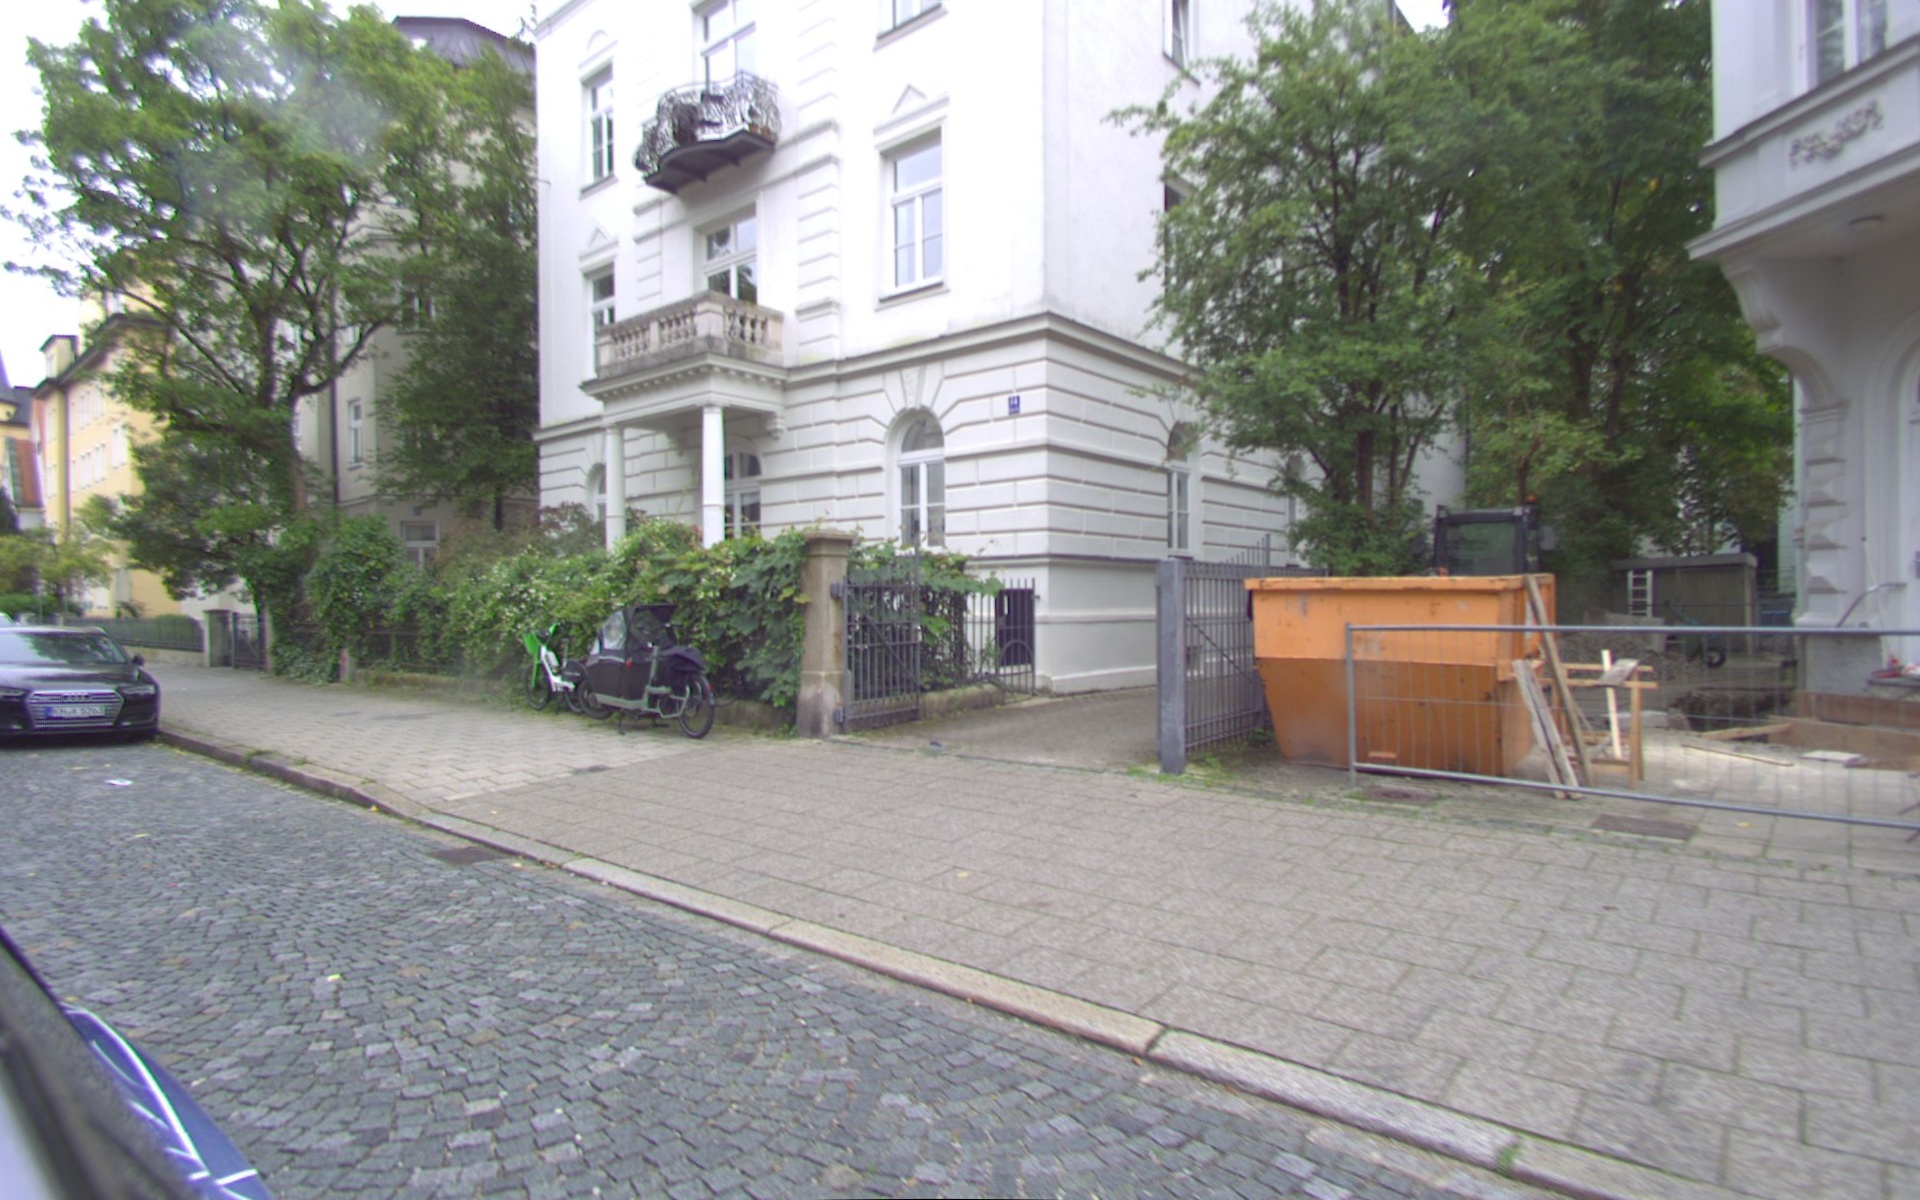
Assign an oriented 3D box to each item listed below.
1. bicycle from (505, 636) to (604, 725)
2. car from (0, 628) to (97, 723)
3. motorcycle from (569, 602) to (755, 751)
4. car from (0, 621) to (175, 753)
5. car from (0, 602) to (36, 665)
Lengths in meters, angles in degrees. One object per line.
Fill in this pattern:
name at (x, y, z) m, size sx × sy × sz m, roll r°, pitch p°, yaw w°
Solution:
bicycle at (-5.282, 1.014, 13.136) m, size 1.742 × 1.058 × 0.353 m, roll -1°, pitch 0°, yaw 38°
car at (-15.406, 1.149, 16.128) m, size 3.998 × 1.342 × 1.973 m, roll -1°, pitch -1°, yaw 41°
motorcycle at (-3.242, 0.757, 10.884) m, size 2.242 × 1.439 × 0.729 m, roll -1°, pitch 1°, yaw 38°
car at (-11.894, 0.993, 12.991) m, size 4.805 × 1.430 × 1.862 m, roll -1°, pitch -3°, yaw 40°
car at (-32.528, 1.113, 34.021) m, size 3.998 × 2.029 × 1.740 m, roll -1°, pitch 0°, yaw 41°
